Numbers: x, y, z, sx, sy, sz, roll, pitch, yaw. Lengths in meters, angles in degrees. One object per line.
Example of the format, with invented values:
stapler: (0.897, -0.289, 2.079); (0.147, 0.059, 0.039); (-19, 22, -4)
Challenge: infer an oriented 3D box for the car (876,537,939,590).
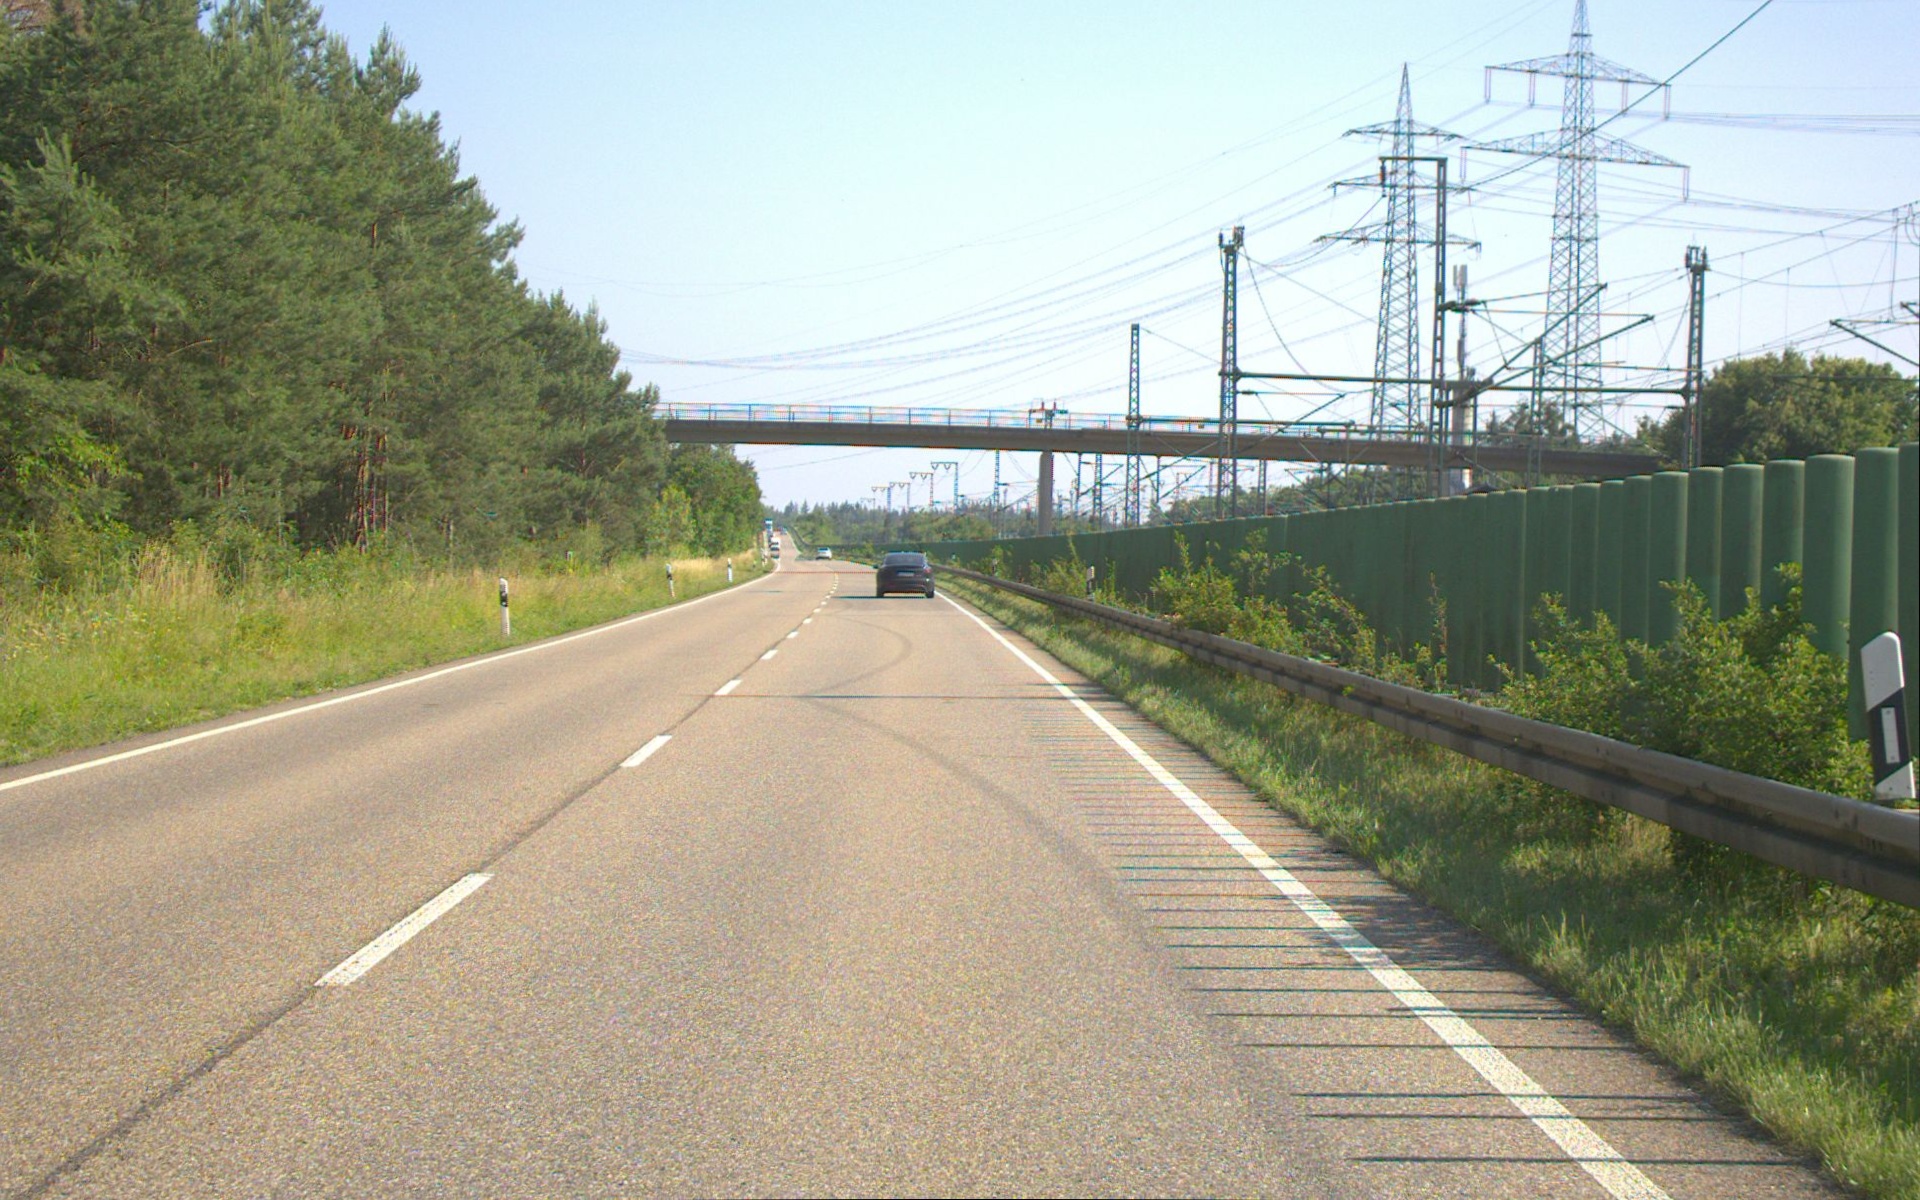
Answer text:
car: (-1.698, -1.169, 109.638); (1.858, 1.636, 4.001); (-1, 1, -3)
